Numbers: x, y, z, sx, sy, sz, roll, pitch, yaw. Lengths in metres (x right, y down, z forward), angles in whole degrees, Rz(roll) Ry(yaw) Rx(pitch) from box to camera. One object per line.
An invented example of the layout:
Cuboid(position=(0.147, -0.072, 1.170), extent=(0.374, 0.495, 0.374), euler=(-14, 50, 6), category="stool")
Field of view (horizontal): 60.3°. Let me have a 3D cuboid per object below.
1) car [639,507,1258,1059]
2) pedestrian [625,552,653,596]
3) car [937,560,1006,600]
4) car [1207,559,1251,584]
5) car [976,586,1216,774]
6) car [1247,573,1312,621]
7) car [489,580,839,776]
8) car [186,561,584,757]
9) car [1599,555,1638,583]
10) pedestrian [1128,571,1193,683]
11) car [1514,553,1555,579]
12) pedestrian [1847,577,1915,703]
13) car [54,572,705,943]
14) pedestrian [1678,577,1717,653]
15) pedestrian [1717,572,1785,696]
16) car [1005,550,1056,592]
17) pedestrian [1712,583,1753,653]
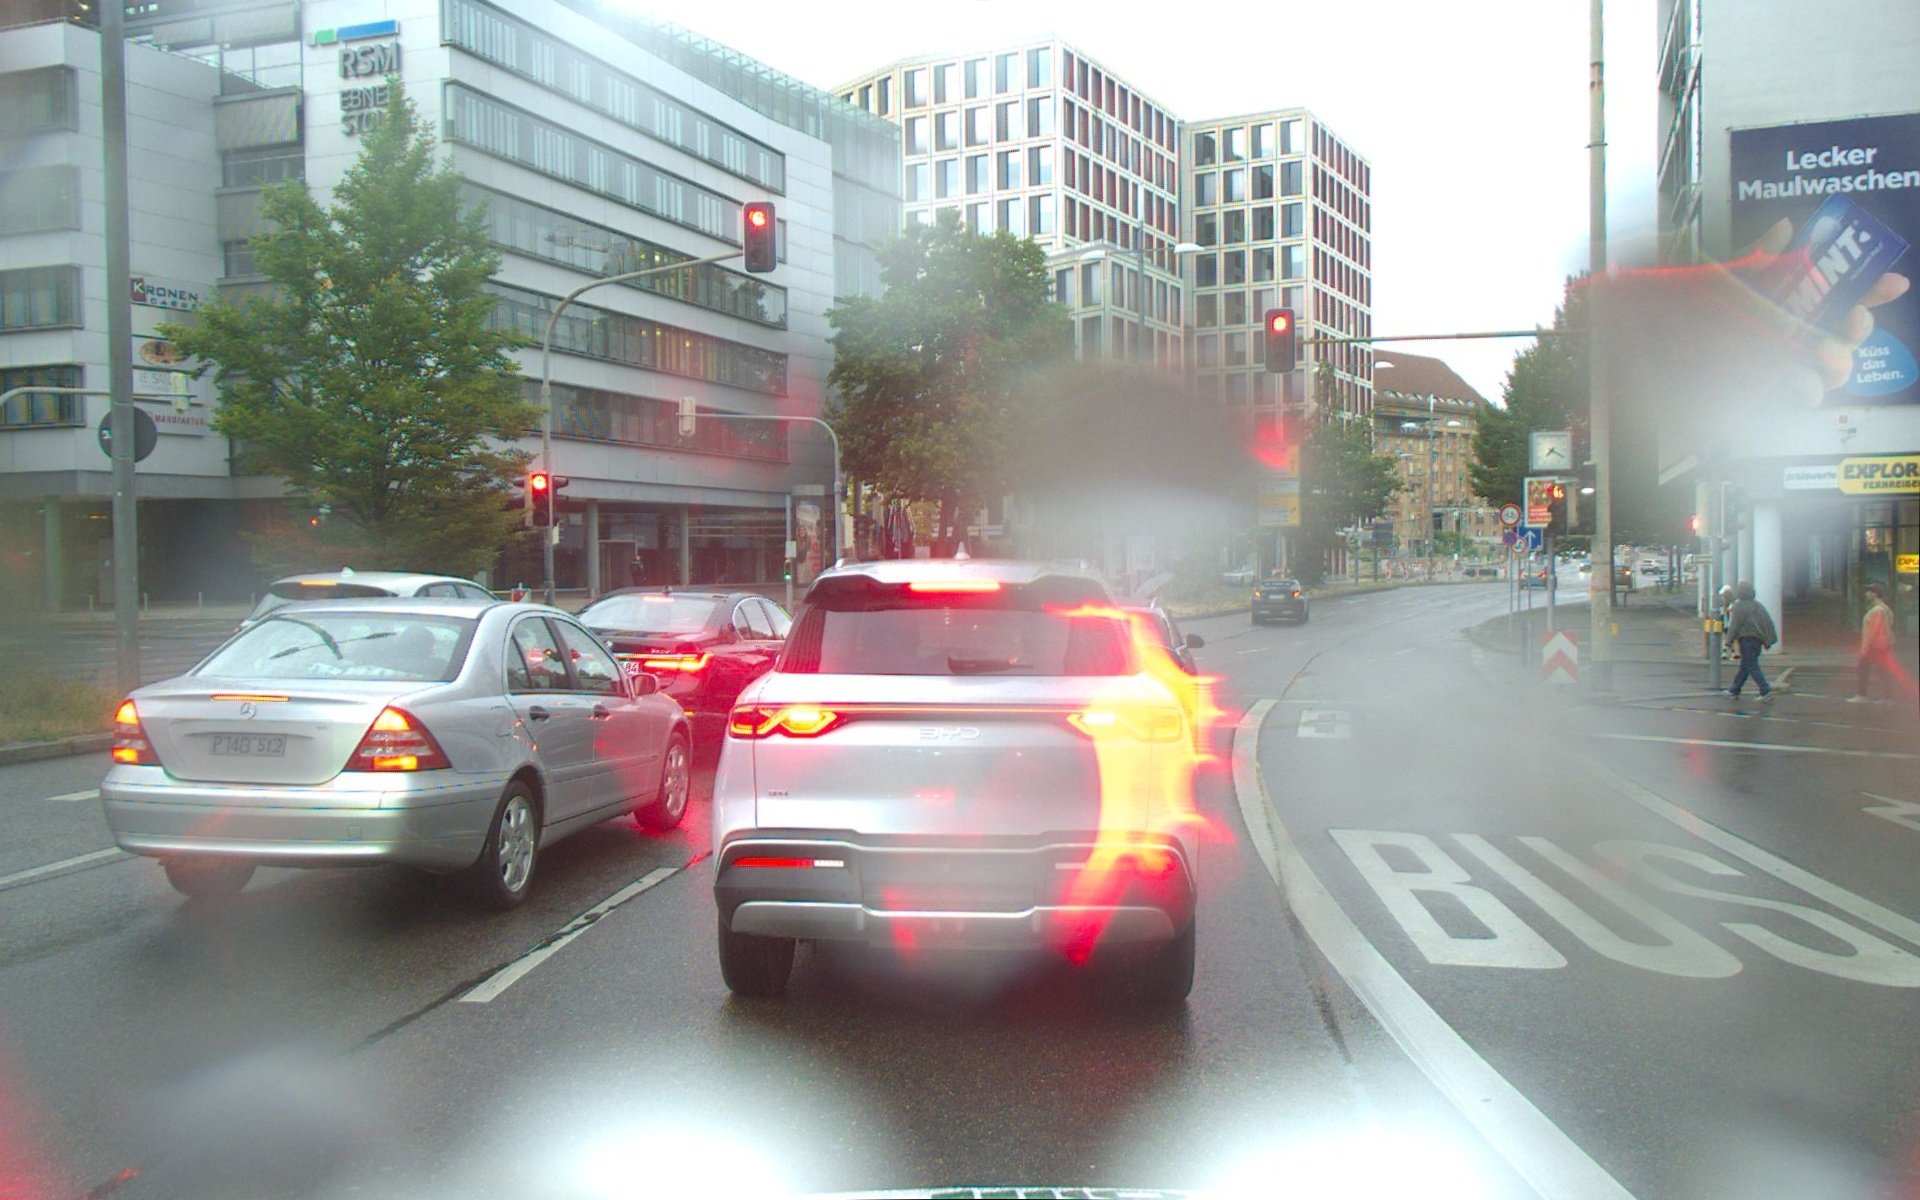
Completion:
Cuboid(position=(0.061, 0.565, 7.555), extent=(1.952, 1.739, 4.484), euler=(-1, 1, 3), category="car")
Cuboid(position=(-12.937, -1.024, 66.648), extent=(0.712, 1.757, 0.925), euler=(0, 0, 21), category="pedestrian")
Cuboid(position=(0.582, -0.964, 77.738), extent=(1.952, 1.735, 4.001), euler=(1, 2, 21), category="car")
Cuboid(position=(19.523, -2.079, 119.835), extent=(1.954, 1.735, 4.305), euler=(1, 2, 26), category="car")
Cuboid(position=(1.438, 0.646, 15.889), extent=(1.913, 1.557, 4.004), euler=(0, 1, 10), category="car")
Cuboid(position=(11.070, -0.121, 57.198), extent=(1.951, 1.579, 4.003), euler=(1, 1, 14), category="car")
Cuboid(position=(-2.551, 0.602, 15.329), extent=(1.913, 1.557, 4.004), euler=(0, 1, 10), category="car")
Cuboid(position=(-5.318, 0.470, 15.922), extent=(1.844, 1.624, 4.004), euler=(0, 1, 11), category="car")
Cuboid(position=(44.598, -2.093, 111.898), extent=(2.007, 1.796, 4.351), euler=(2, 1, 27), category="car")
Cuboid(position=(3.196, 0.420, 26.452), extent=(0.904, 1.768, 0.729), euler=(0, 0, -6), category="pedestrian")
Cuboid(position=(35.309, -2.078, 101.601), extent=(1.873, 1.536, 4.352), euler=(2, 1, 26), category="car")
Cuboid(position=(13.633, 0.577, 24.506), extent=(0.712, 1.830, 0.740), euler=(0, 0, 15), category="pedestrian")
Cuboid(position=(-2.734, 0.617, 8.912), extent=(1.646, 1.512, 4.200), euler=(0, 1, 6), category="car")
Cuboid(position=(16.787, 0.342, 37.664), extent=(0.712, 1.698, 0.691), euler=(0, -1, 15), category="pedestrian")
Cuboid(position=(11.881, 0.504, 24.859), extent=(0.795, 1.830, 0.711), euler=(0, 0, 15), category="pedestrian")
Cuboid(position=(3.882, -1.544, 90.486), extent=(1.700, 2.199, 4.496), euler=(1, 0, 17), category="car")
Cuboid(position=(17.440, 0.406, 37.349), extent=(0.712, 1.551, 0.760), euler=(0, -1, 15), category="pedestrian")
